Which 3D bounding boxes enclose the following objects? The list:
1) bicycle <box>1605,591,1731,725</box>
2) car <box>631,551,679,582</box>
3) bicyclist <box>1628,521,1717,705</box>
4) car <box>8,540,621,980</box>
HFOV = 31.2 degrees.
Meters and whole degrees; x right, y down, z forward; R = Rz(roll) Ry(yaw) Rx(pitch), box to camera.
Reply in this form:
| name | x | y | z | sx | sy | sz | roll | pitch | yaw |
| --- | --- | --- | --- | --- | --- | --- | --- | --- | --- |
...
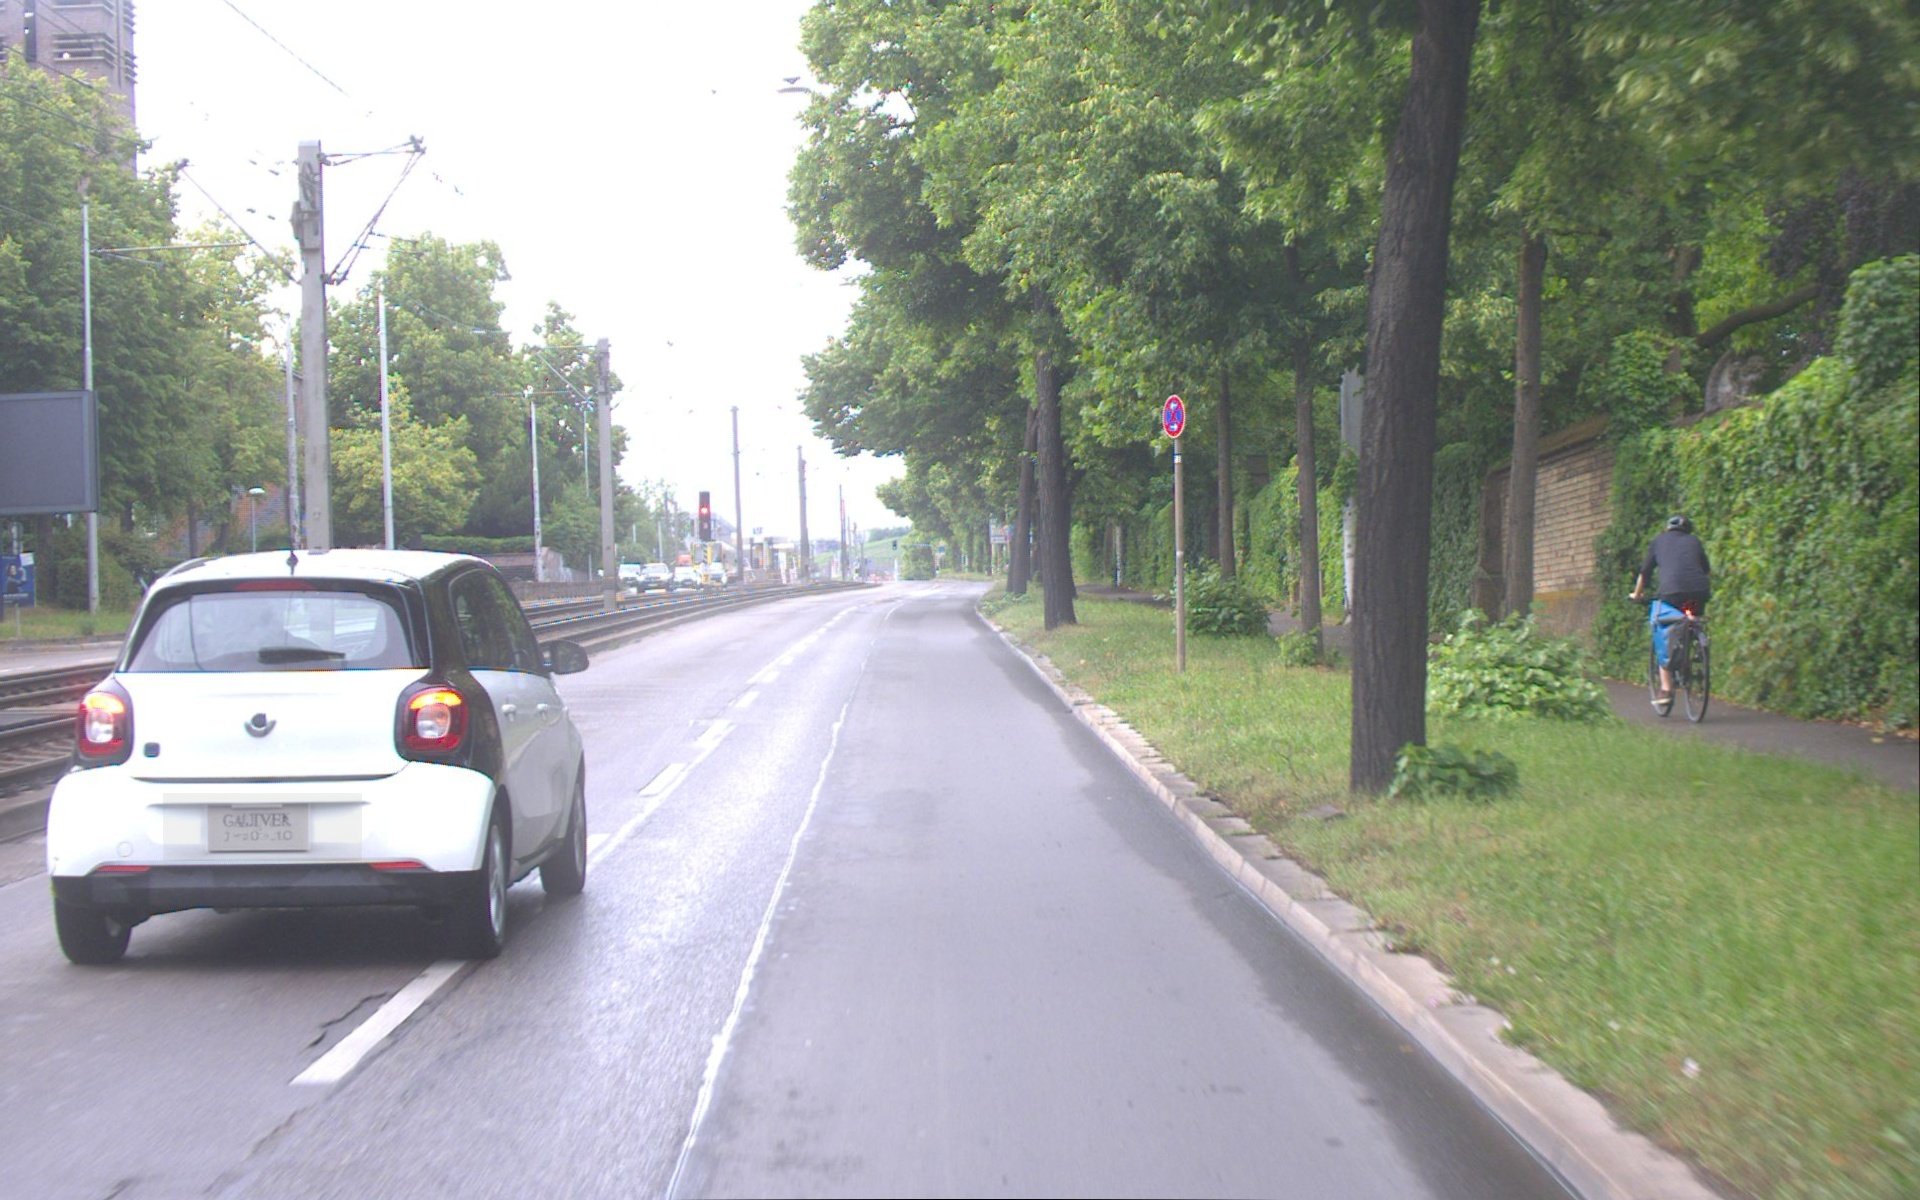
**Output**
| name | x | y | z | sx | sy | sz | roll | pitch | yaw |
| --- | --- | --- | --- | --- | --- | --- | --- | --- | --- |
| bicycle | 5.513 | 0.428 | 26.875 | 0.543 | 0.945 | 2.549 | -2 | 1 | 3 |
| car | -17.301 | -1.905 | 195.184 | 2.013 | 1.650 | 4.616 | -2 | 1 | 3 |
| bicyclist | 5.489 | 0.094 | 26.508 | 0.535 | 1.385 | 0.666 | -2 | 1 | 2 |
| car | -2.474 | 0.547 | 14.050 | 1.676 | 1.525 | 3.721 | -1 | 1 | 2 |
